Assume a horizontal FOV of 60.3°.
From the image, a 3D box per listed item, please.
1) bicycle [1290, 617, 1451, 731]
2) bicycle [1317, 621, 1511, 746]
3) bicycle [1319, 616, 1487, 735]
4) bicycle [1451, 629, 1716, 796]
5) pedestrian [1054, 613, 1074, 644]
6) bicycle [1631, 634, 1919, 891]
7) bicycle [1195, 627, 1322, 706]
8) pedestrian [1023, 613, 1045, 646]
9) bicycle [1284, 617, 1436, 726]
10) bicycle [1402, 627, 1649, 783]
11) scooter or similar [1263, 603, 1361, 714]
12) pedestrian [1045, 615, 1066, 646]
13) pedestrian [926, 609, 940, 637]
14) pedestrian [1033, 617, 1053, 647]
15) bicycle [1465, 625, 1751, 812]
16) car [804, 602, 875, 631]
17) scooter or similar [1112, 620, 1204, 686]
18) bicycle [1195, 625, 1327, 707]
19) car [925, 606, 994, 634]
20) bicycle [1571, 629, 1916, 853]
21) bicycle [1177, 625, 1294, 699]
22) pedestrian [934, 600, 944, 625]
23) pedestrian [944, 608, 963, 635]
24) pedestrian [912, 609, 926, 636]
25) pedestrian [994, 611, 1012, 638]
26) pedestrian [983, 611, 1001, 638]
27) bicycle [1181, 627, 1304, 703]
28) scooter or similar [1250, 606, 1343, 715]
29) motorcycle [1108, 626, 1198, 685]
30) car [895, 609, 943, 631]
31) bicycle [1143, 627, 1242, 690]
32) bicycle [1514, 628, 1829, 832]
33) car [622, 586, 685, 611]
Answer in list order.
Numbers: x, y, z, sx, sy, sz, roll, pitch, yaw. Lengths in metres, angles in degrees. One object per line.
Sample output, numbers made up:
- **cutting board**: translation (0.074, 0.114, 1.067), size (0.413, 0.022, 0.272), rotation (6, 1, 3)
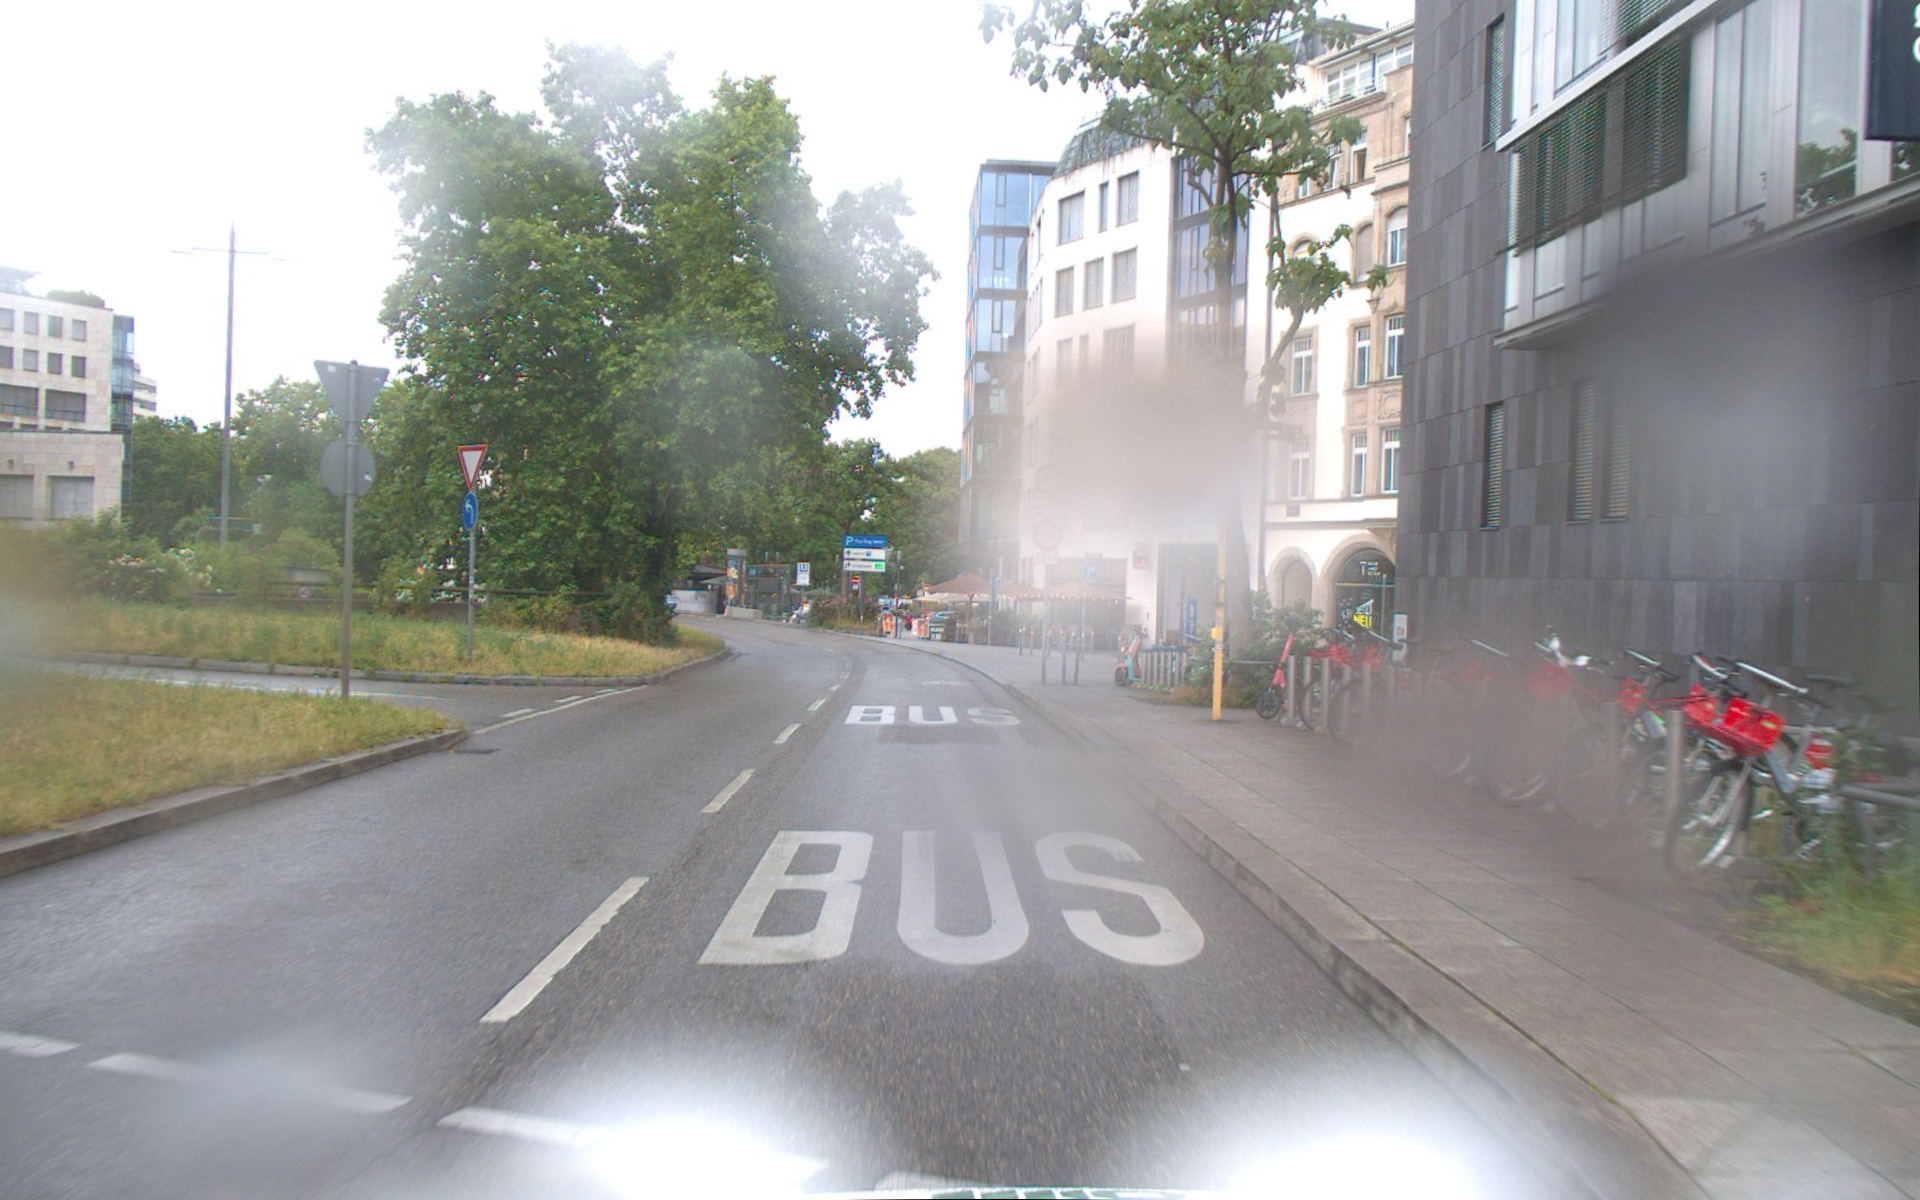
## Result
- **bicycle**: translation (4.365, 0.780, 17.632), size (1.505, 1.160, 0.688), rotation (2, -2, -8)
- **bicycle**: translation (4.396, 0.804, 16.064), size (1.674, 1.160, 0.688), rotation (2, -2, -8)
- **bicycle**: translation (4.505, 0.765, 16.863), size (1.505, 1.160, 0.688), rotation (2, -2, -8)
- **bicycle**: translation (4.547, 0.806, 12.116), size (1.697, 1.160, 0.688), rotation (1, 0, -8)
- **pedestrian**: translation (4.698, 1.295, 74.759), size (0.619, 1.349, 0.630), rotation (4, -1, -26)
- **bicycle**: translation (4.347, 0.787, 8.305), size (1.697, 1.204, 0.688), rotation (1, 0, -8)
- **bicycle**: translation (4.497, 0.999, 24.944), size (1.760, 1.087, 0.555), rotation (3, -2, -7)
- **pedestrian**: translation (3.134, 1.254, 70.361), size (0.759, 1.349, 0.635), rotation (4, -1, -7)
- **bicycle**: translation (4.451, 0.796, 18.455), size (1.505, 1.160, 0.661), rotation (2, -2, -8)
- **bicycle**: translation (4.406, 0.807, 12.934), size (1.697, 1.160, 0.688), rotation (1, 0, -8)
- **scooter or similar**: translation (4.169, 0.692, 19.607), size (1.085, 1.280, 0.302), rotation (2, -2, -9)
- **pedestrian**: translation (4.365, 1.376, 75.554), size (0.619, 1.349, 0.630), rotation (4, -1, -26)
- **pedestrian**: translation (-1.348, 1.165, 83.514), size (0.594, 1.349, 0.567), rotation (4, -1, -6)
- **pedestrian**: translation (3.852, 1.485, 76.826), size (0.619, 1.349, 0.630), rotation (4, -1, -26)
- **bicycle**: translation (4.399, 0.788, 11.272), size (1.697, 1.204, 0.688), rotation (1, 0, -8)
- **car**: translation (-8.116, 1.111, 111.952), size (4.640, 1.720, 2.004), rotation (3, 0, -3)
- **scooter or similar**: translation (4.087, 1.090, 34.177), size (1.758, 1.265, 0.595), rotation (3, -2, -8)
- **bicycle**: translation (4.382, 0.958, 24.112), size (1.760, 1.087, 0.555), rotation (3, -2, -7)
- **car**: translation (-0.048, 1.382, 114.530), size (4.640, 1.720, 2.004), rotation (3, 0, -3)
- **bicycle**: translation (4.475, 0.785, 9.495), size (1.697, 1.204, 0.688), rotation (1, 0, -8)
- **bicycle**: translation (4.570, 1.029, 27.474), size (1.760, 1.127, 0.669), rotation (3, -2, -8)
- **pedestrian**: translation (-1.621, 0.965, 129.240), size (0.611, 1.967, 0.788), rotation (2, -1, 4)
- **pedestrian**: translation (-0.340, 1.109, 85.537), size (0.801, 1.349, 0.635), rotation (4, -1, -6)
- **pedestrian**: translation (-2.066, 1.126, 83.435), size (0.594, 1.349, 0.567), rotation (4, -1, -6)
- **pedestrian**: translation (2.209, 1.279, 85.495), size (0.801, 1.349, 0.635), rotation (4, -1, -6)
- **pedestrian**: translation (1.652, 1.258, 86.321), size (0.801, 1.349, 0.635), rotation (4, -1, -6)
- **bicycle**: translation (4.360, 1.003, 25.566), size (1.760, 1.087, 0.555), rotation (3, -2, -7)
- **scooter or similar**: translation (4.060, 0.732, 19.964), size (1.040, 1.280, 0.302), rotation (2, -2, -9)
- **motorcycle**: translation (4.083, 1.170, 34.966), size (1.758, 1.160, 0.595), rotation (3, -2, -8)
- **car**: translation (-3.038, 1.461, 122.366), size (3.470, 1.440, 1.603), rotation (3, -1, 44)
- **bicycle**: translation (4.523, 1.135, 32.174), size (1.760, 1.127, 0.669), rotation (3, -2, -8)
- **bicycle**: translation (4.423, 0.788, 10.332), size (1.697, 1.204, 0.688), rotation (1, 0, -8)
- **car**: translation (-22.163, -0.092, 119.477), size (4.253, 1.695, 1.948), rotation (1, -1, 32)
